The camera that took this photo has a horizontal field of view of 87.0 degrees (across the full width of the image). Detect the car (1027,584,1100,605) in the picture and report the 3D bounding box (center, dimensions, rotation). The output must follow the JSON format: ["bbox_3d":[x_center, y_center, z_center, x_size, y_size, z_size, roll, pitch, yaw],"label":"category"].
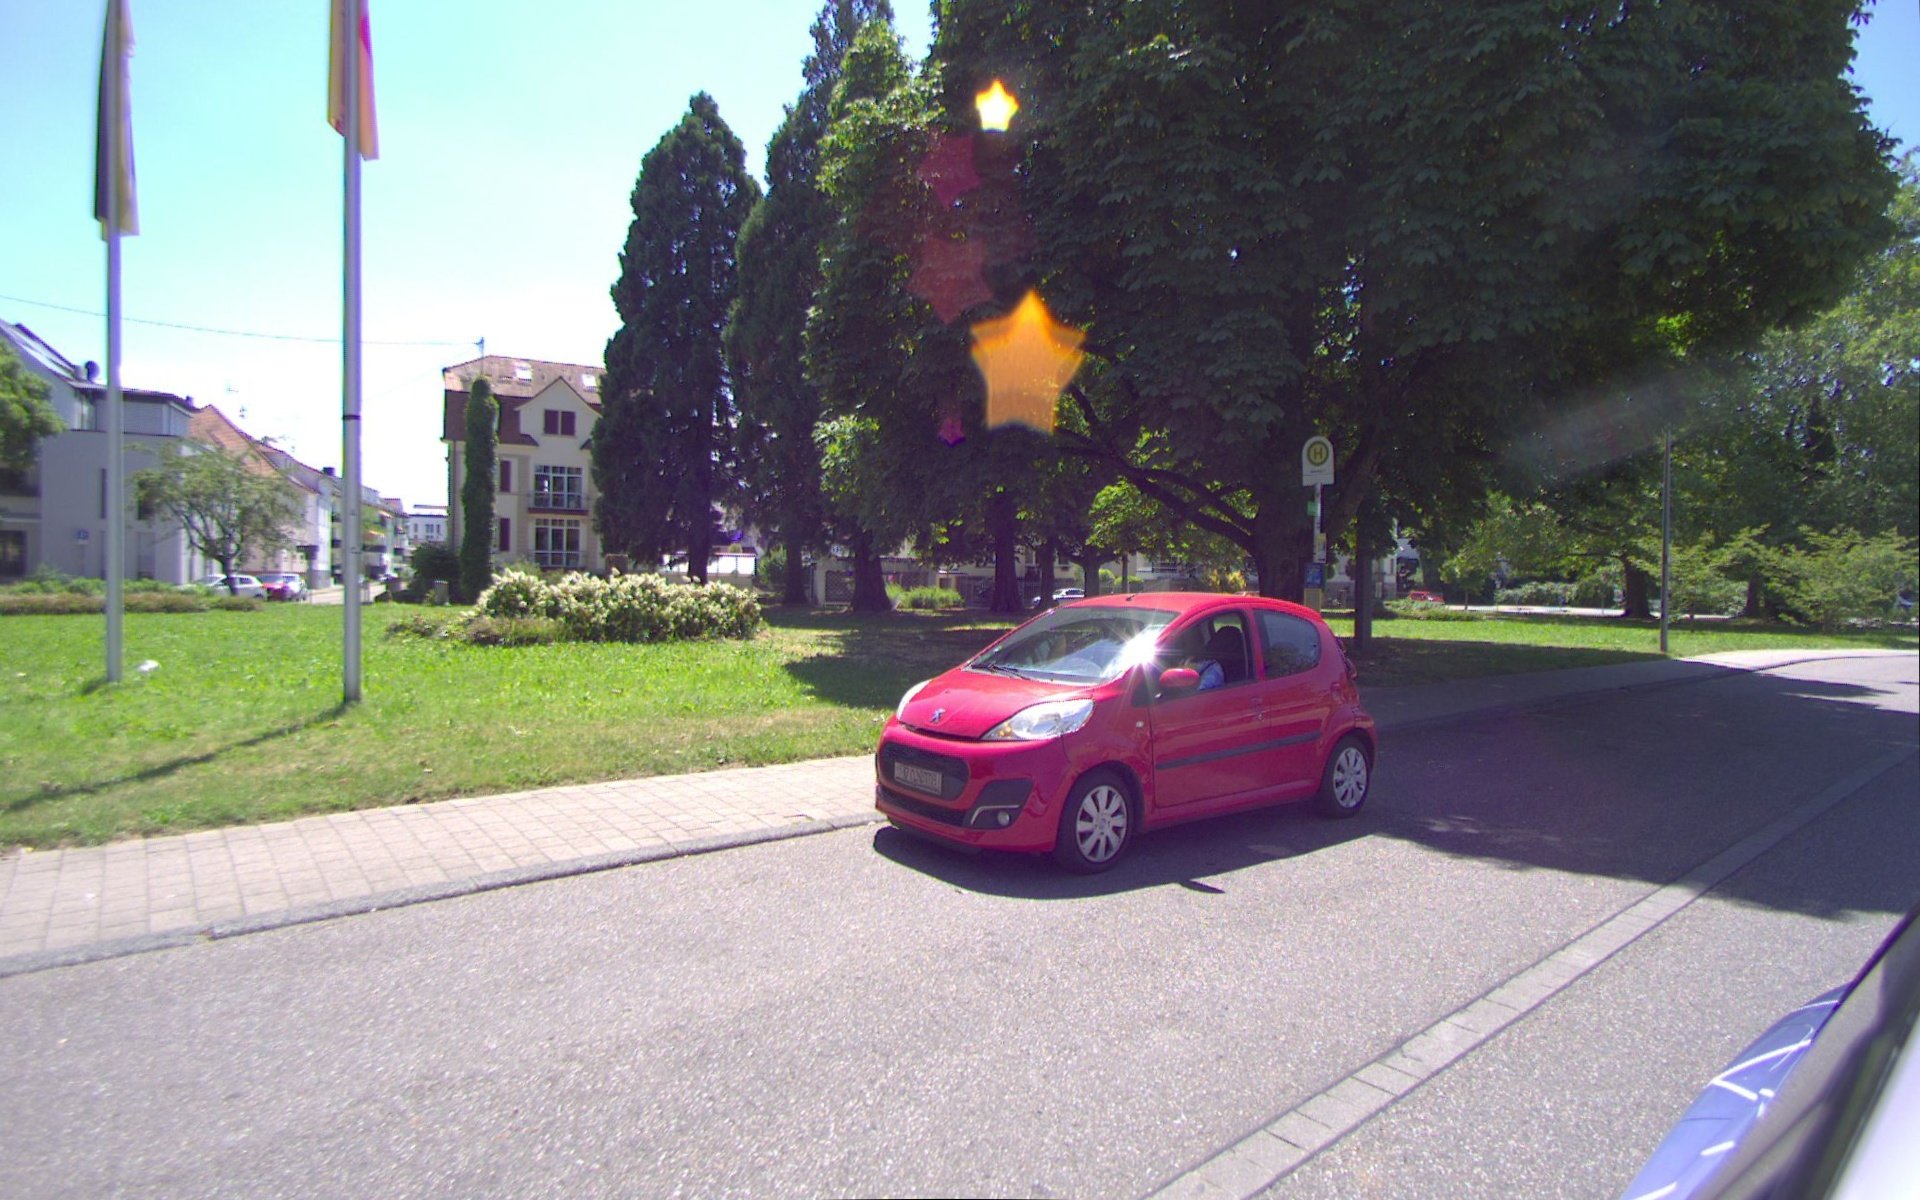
[{"bbox_3d":[6.859,-0.365,66.884,4.618,1.303,1.674,-1,2,-26],"label":"car"}]

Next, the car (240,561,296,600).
[{"bbox_3d":[-36.851,-1.071,53.949,1.793,1.981,3.768,-1,2,-24],"label":"car"}]

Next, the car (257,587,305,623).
[{"bbox_3d":[-39.181,0.251,58.465,1.715,1.839,3.925,-1,2,-26],"label":"car"}]

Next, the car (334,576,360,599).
[{"bbox_3d":[-56.861,-1.213,93.949,1.960,2.038,4.005,-2,3,-30],"label":"car"}]

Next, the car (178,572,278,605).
[{"bbox_3d":[-33.937,-0.553,47.034,1.445,1.450,3.689,1,2,15],"label":"car"}]

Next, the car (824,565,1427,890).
[{"bbox_3d":[1.162,0.564,6.449,3.636,1.497,1.724,0,2,-36],"label":"car"}]
